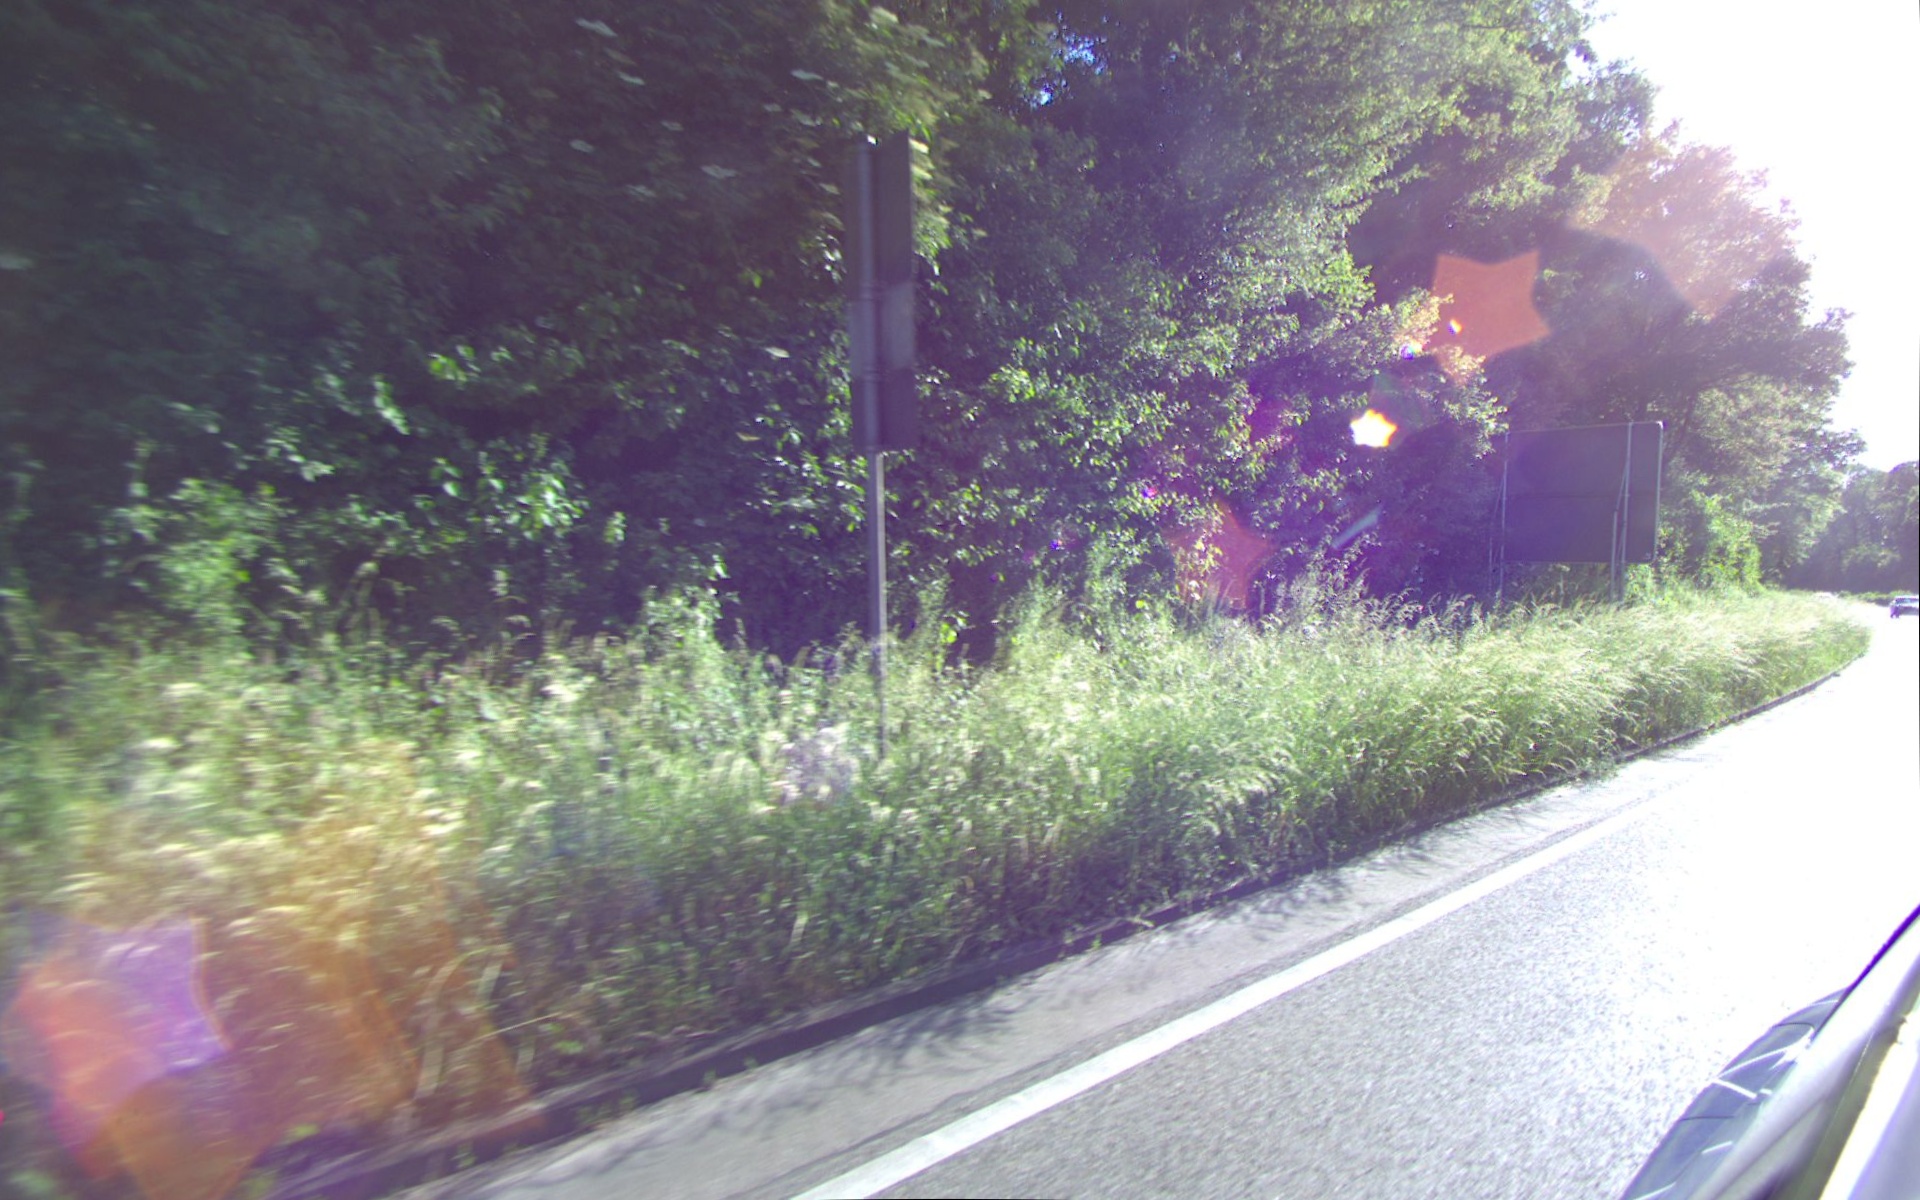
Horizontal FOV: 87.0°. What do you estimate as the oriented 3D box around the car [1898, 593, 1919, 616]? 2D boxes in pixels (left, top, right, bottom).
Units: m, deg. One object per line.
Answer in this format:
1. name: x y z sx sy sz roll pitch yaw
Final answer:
1. car: 67.203 0.308 70.937 1.928 1.526 5.010 2 2 41
